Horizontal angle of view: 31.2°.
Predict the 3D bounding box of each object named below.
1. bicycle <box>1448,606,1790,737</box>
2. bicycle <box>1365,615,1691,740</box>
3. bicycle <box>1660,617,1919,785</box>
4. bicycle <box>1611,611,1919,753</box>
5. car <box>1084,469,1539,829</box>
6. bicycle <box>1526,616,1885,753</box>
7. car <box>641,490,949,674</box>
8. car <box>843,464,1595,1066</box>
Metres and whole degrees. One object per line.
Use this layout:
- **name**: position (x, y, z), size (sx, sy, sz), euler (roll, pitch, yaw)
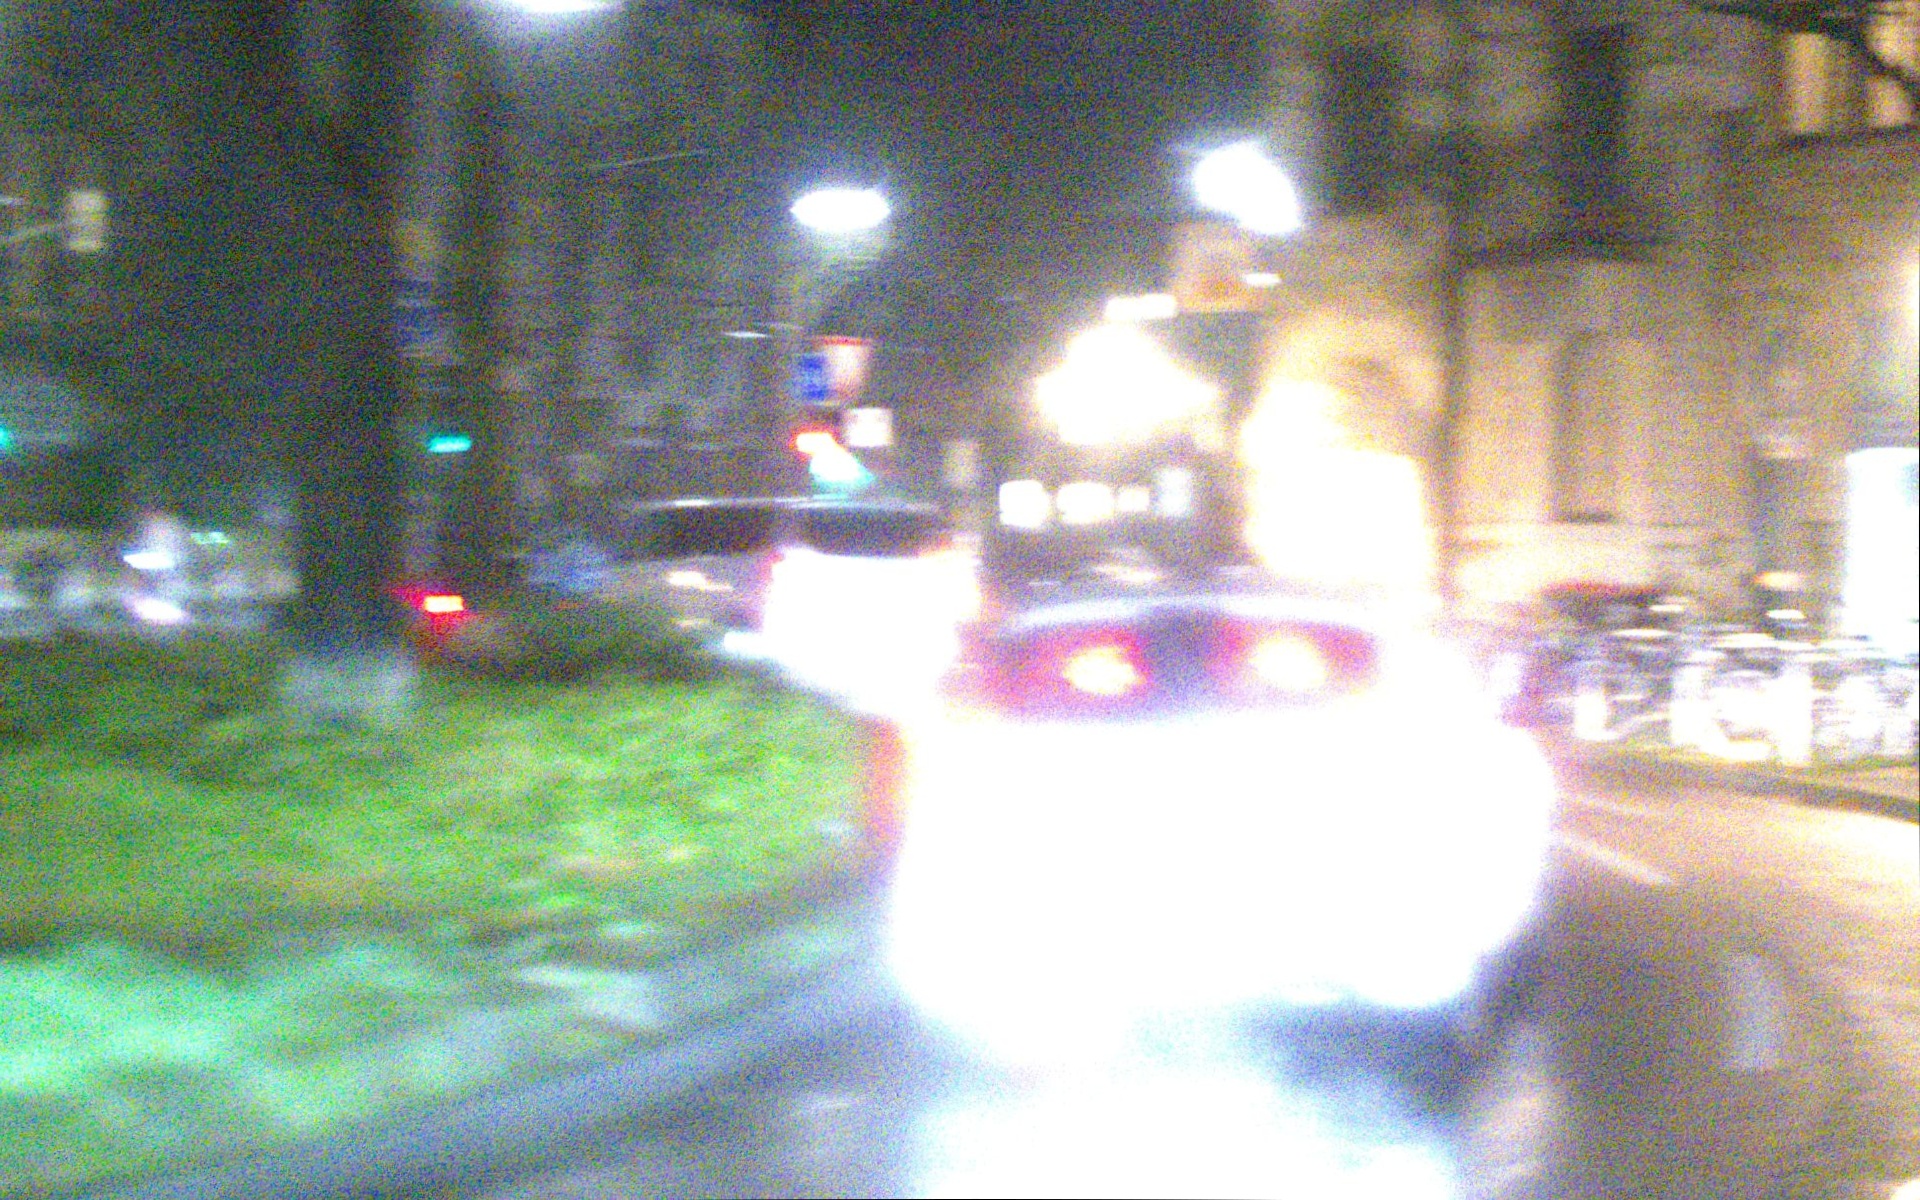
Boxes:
- **bicycle**: position (5.521, 0.602, 28.786), size (2.766, 1.023, 0.725), euler (1, 1, -17)
- **bicycle**: position (5.001, 0.682, 30.241), size (2.766, 1.023, 0.725), euler (1, 1, -17)
- **bicycle**: position (6.486, 0.729, 24.696), size (2.768, 1.125, 0.725), euler (2, 1, 7)
- **bicycle**: position (6.366, 0.626, 26.201), size (2.766, 1.023, 0.725), euler (1, 1, -21)
- **car**: position (1.841, 0.274, 19.270), size (1.993, 1.722, 4.000), euler (3, -1, -1)
- **bicycle**: position (5.950, 0.678, 27.439), size (2.766, 1.023, 0.725), euler (1, 1, -17)
- **car**: position (-1.787, -0.174, 35.881), size (1.993, 1.722, 4.001), euler (3, -1, -21)
- **car**: position (1.012, 0.489, 11.364), size (1.732, 1.608, 3.458), euler (2, -1, 16)
